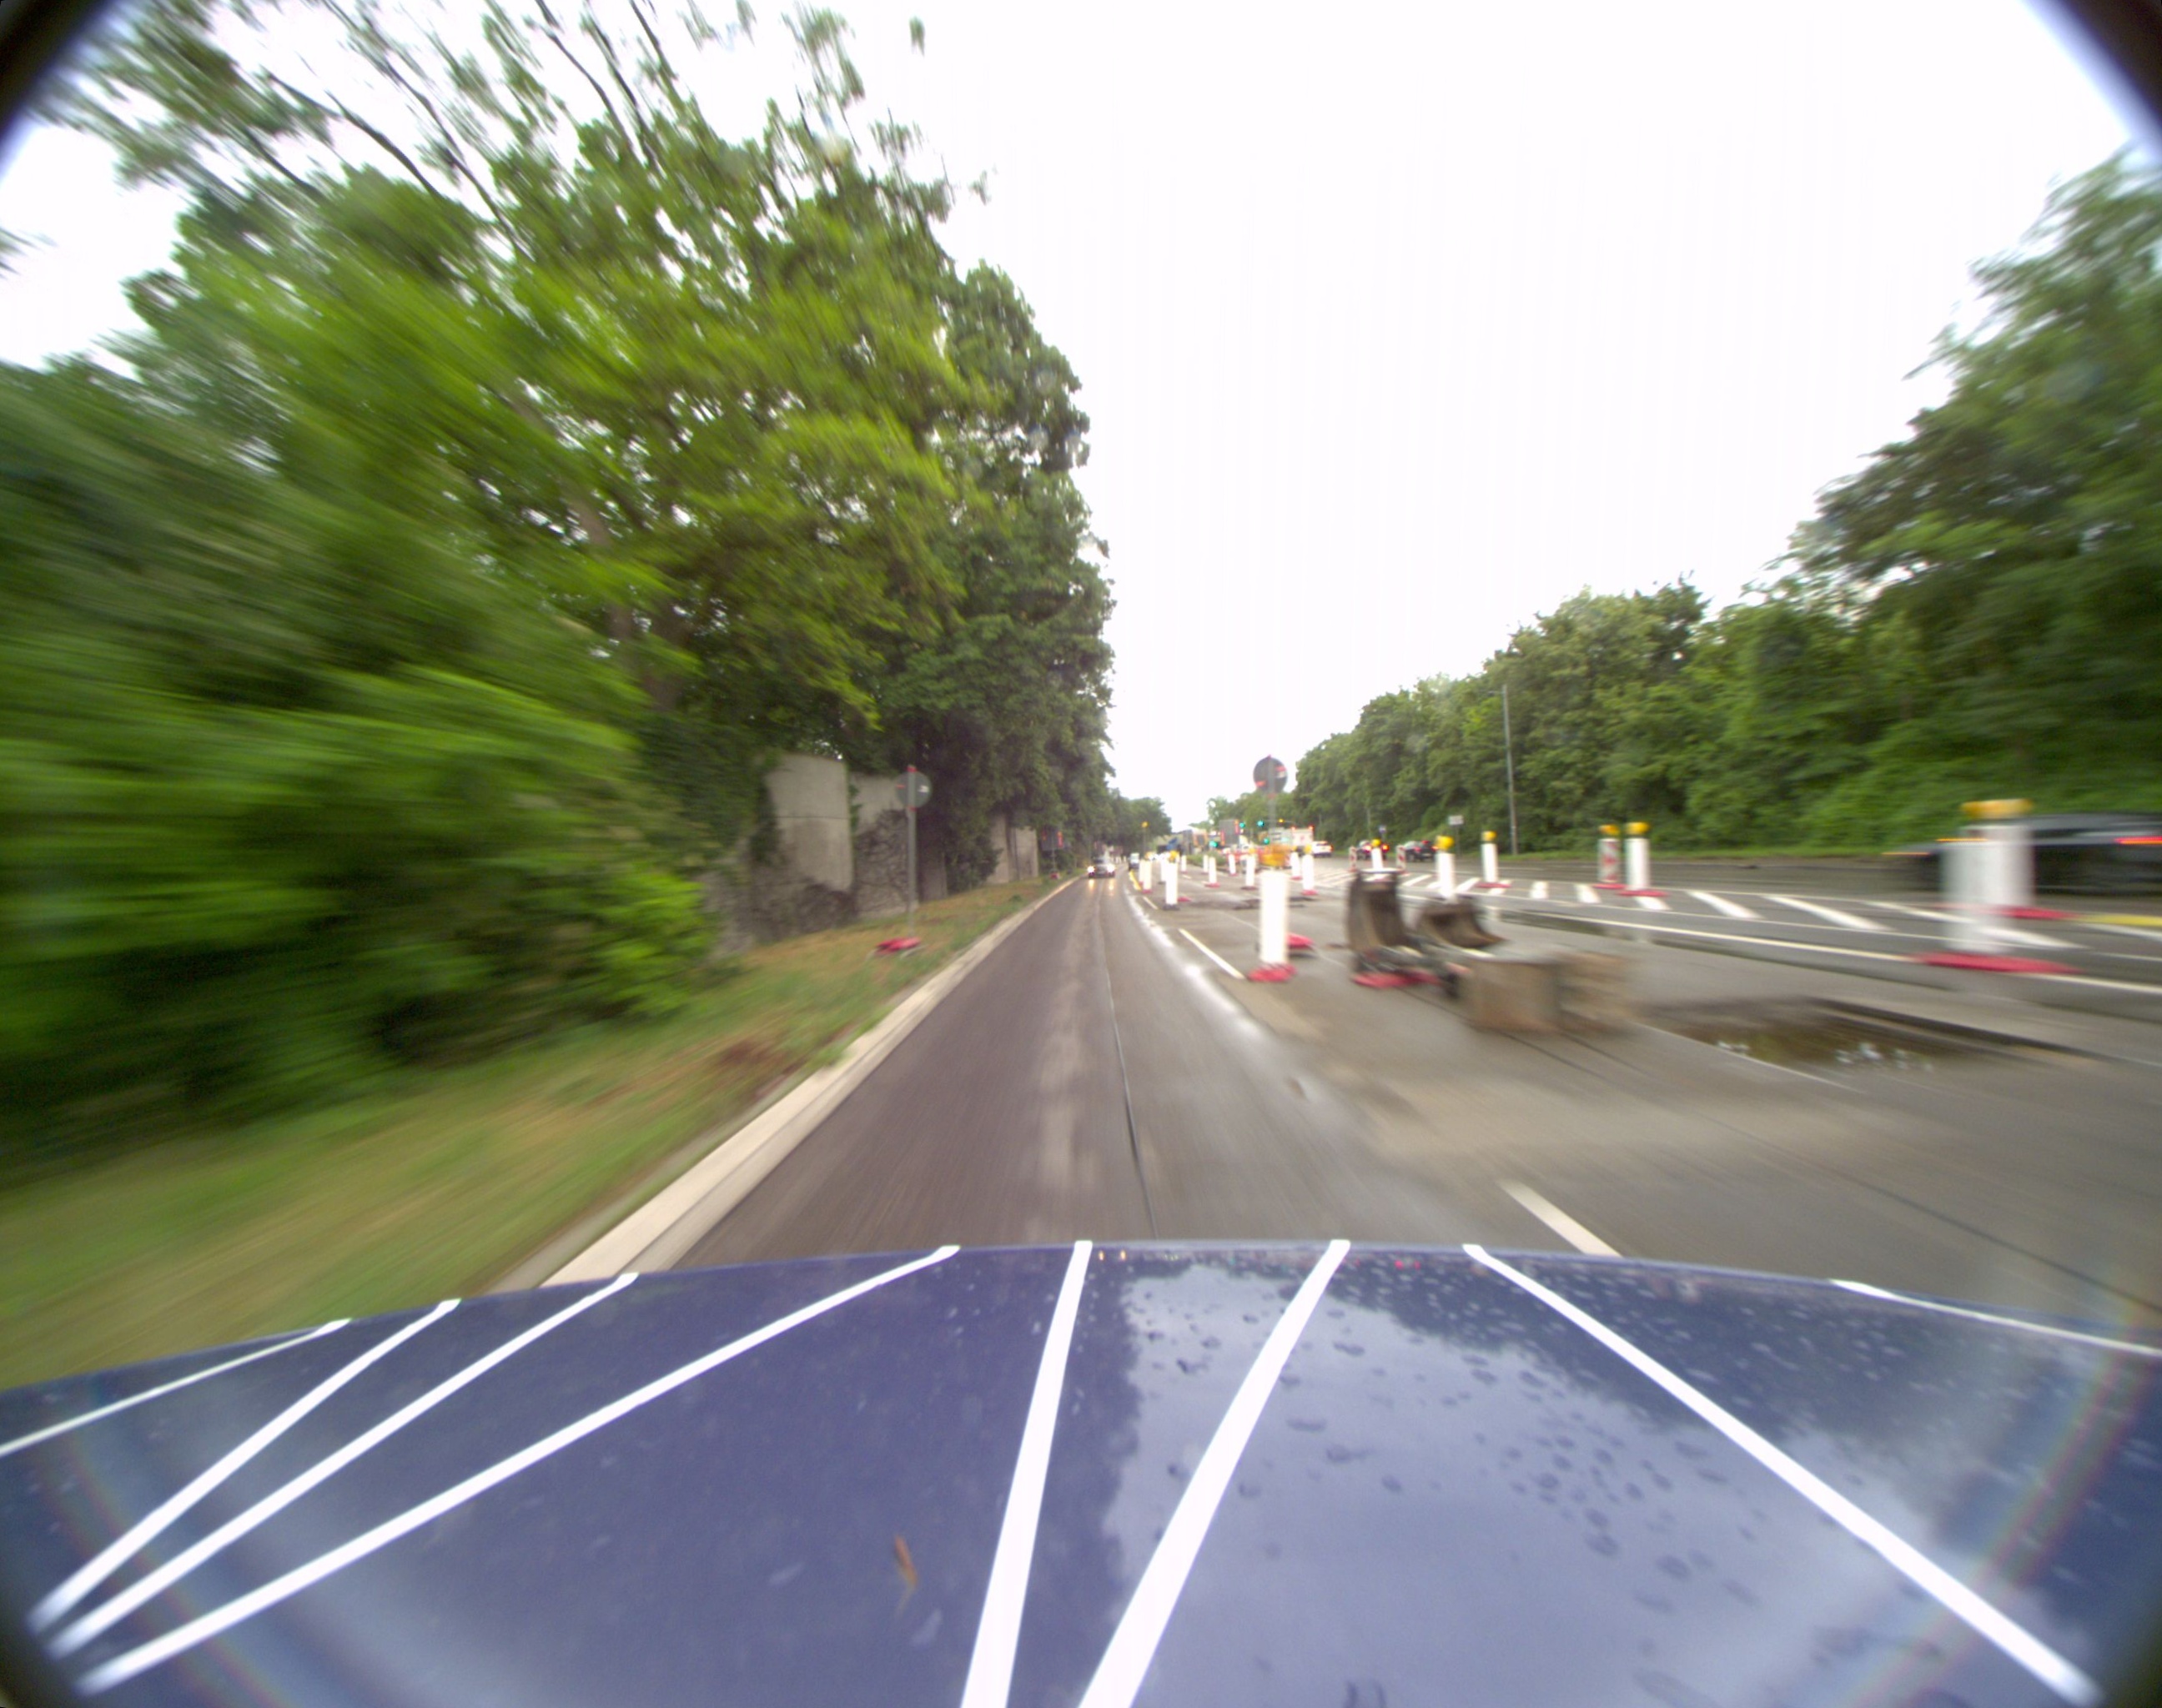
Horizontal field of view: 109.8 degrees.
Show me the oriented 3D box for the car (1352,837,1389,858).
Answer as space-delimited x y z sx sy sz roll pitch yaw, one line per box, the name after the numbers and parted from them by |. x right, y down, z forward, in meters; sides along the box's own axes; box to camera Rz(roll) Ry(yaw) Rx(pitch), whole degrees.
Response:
24.539 -0.524 64.502 1.639 1.637 4.200 -2 0 3 | car

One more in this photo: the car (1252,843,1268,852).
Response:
26.479 -0.943 112.272 1.609 1.145 4.284 -3 0 5 | car

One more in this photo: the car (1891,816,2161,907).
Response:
17.256 0.090 13.551 1.431 1.399 3.824 -2 0 -2 | car

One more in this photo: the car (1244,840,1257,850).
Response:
33.848 -1.827 151.896 1.918 1.771 4.835 -4 -1 5 | car

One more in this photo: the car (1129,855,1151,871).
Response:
5.497 0.784 70.789 1.697 1.300 3.827 -3 0 9 | car

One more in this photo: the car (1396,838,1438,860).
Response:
23.720 -0.354 53.743 1.529 1.449 3.540 -1 0 2 | car

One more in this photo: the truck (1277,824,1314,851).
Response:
27.904 -2.102 99.294 2.801 3.130 10.151 -3 0 5 | truck

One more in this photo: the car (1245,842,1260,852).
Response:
28.469 -1.149 126.287 1.839 1.541 4.041 -3 0 5 | car

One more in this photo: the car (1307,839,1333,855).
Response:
27.000 -0.780 85.949 1.848 1.713 4.721 0 0 5 | car

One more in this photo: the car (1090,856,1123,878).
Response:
1.826 0.884 53.490 1.696 1.393 3.828 -3 0 11 | car

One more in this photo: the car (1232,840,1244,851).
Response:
37.236 -2.078 180.155 2.199 2.376 6.248 -4 -1 8 | car

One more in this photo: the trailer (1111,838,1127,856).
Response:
8.339 -1.559 164.589 2.311 3.568 5.965 -3 1 13 | trailer
